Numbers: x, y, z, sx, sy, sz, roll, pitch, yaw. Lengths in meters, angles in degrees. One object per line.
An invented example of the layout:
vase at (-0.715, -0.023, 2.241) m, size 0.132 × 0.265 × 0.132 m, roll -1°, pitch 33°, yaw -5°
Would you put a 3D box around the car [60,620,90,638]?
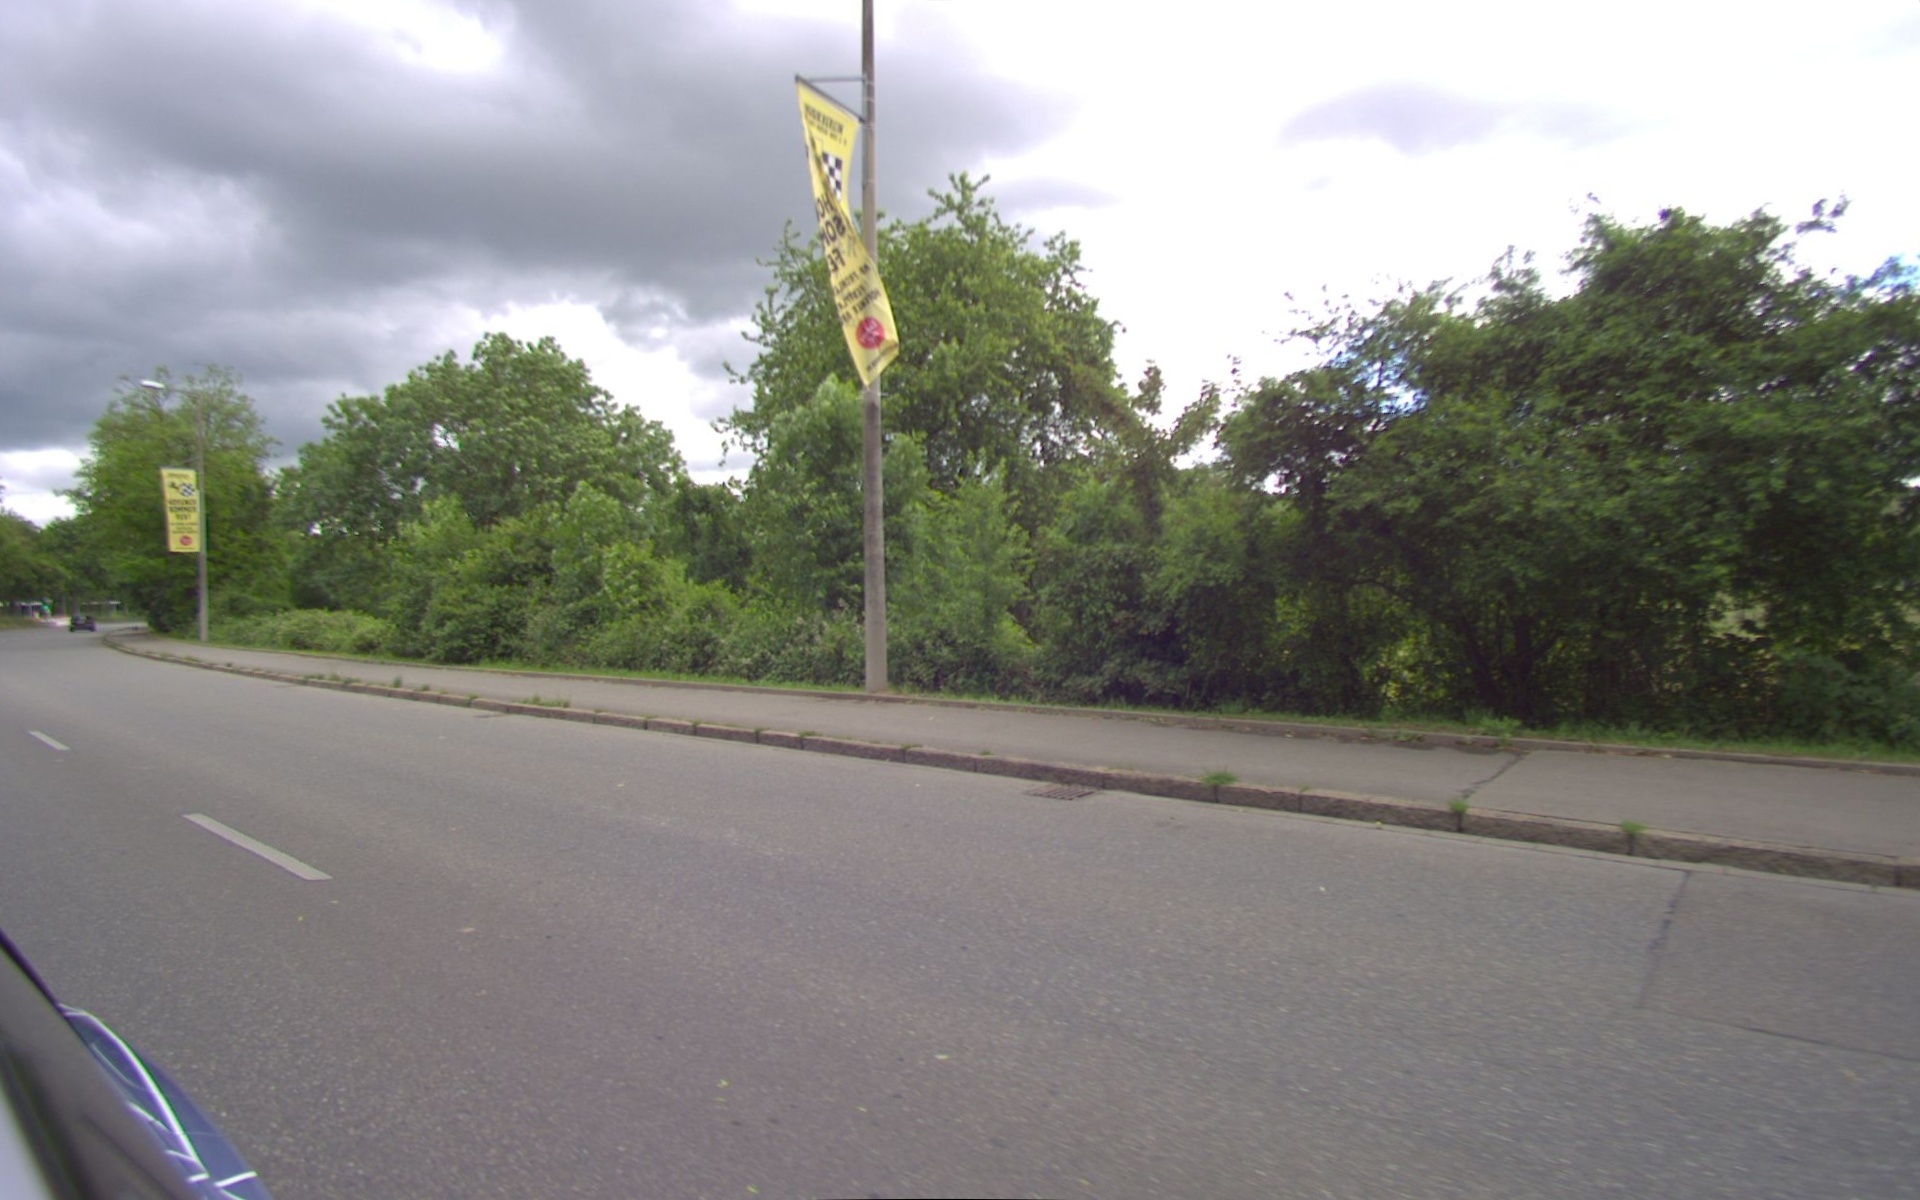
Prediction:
car at (-79.621, 2.567, 91.065) m, size 1.771 × 1.420 × 4.008 m, roll -3°, pitch 2°, yaw -38°
